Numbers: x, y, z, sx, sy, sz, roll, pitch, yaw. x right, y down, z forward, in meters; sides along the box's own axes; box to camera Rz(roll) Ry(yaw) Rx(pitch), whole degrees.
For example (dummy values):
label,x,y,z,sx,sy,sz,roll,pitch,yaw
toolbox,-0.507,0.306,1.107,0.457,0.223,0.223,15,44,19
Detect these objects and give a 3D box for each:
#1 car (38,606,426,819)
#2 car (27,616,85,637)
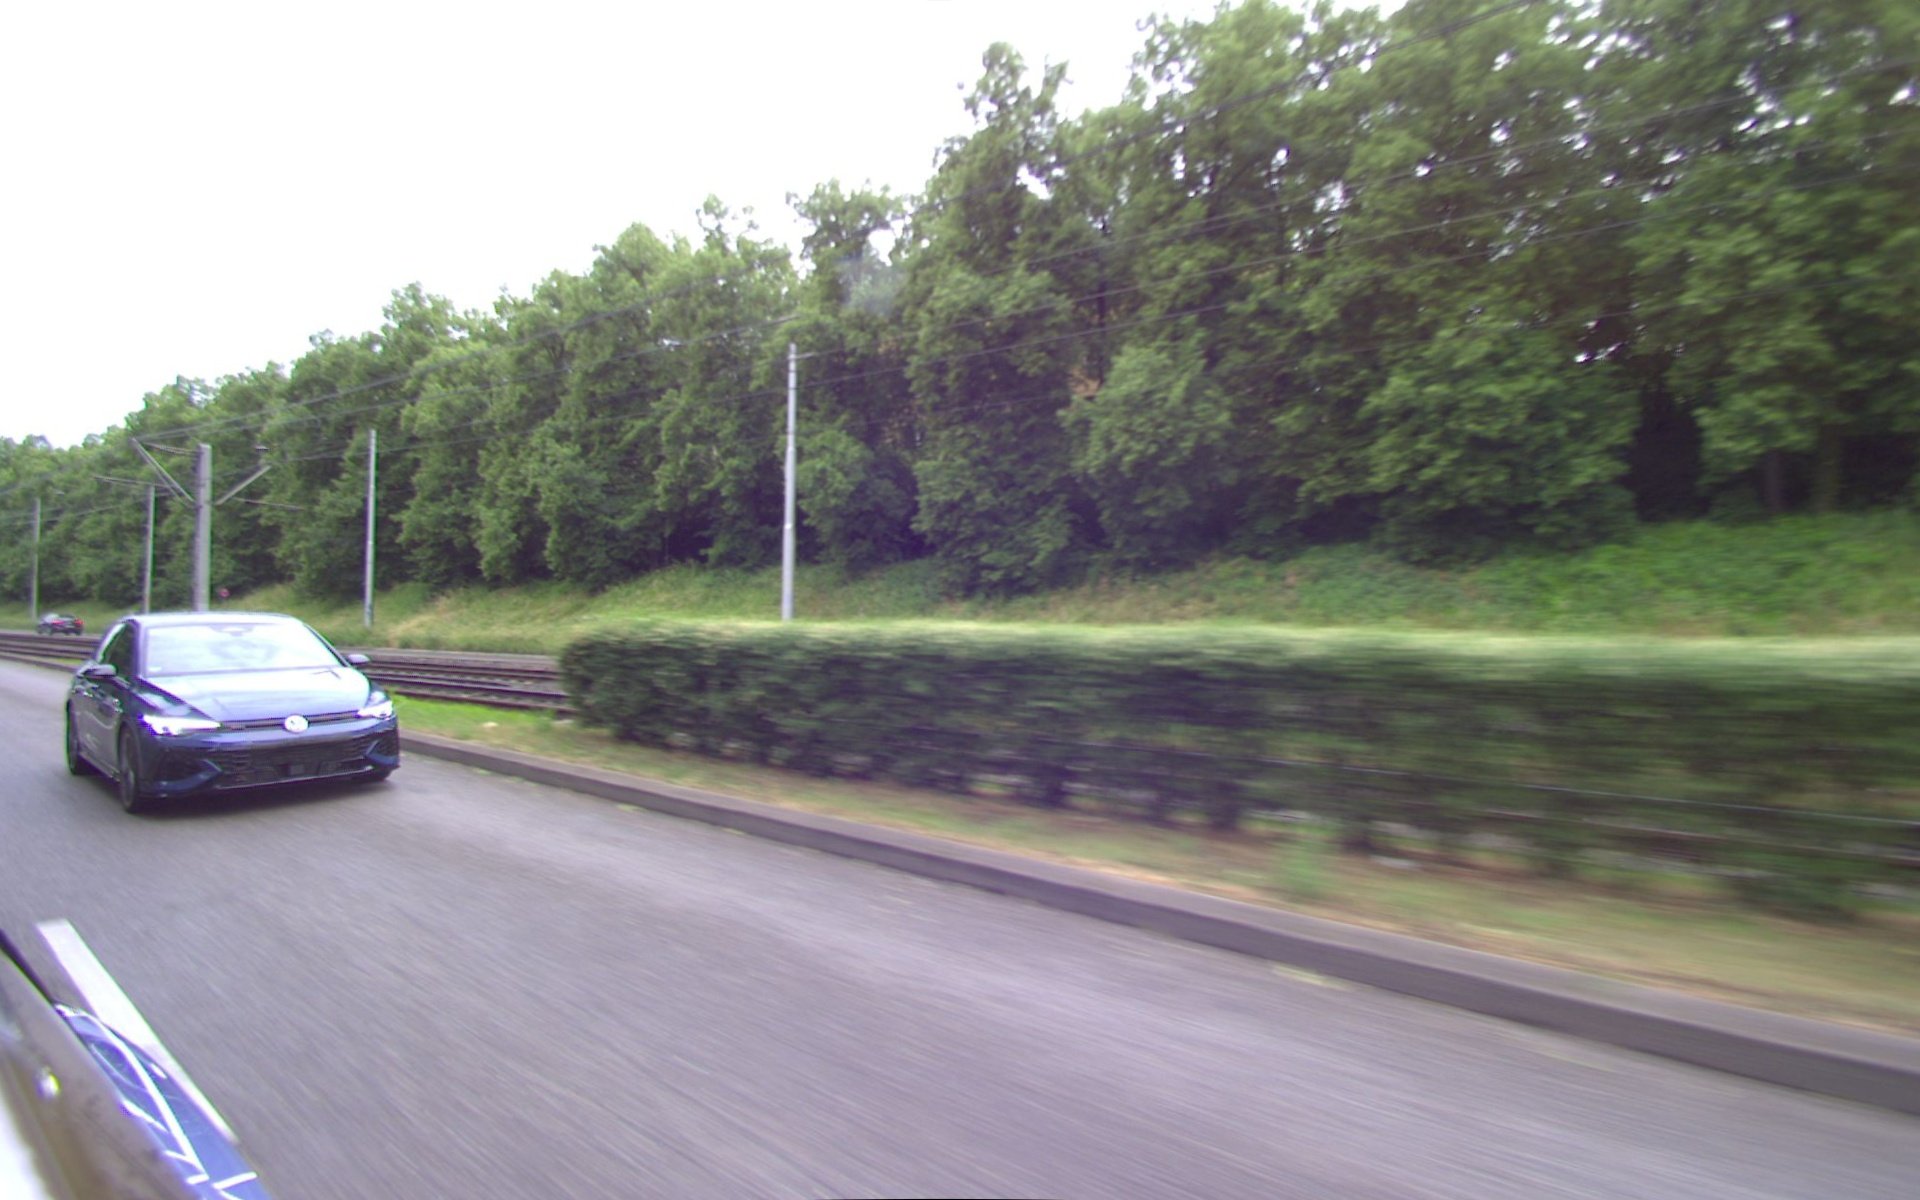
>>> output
label,x,y,z,sx,sy,sz,roll,pitch,yaw
car,-6.449,0.778,8.762,4.344,1.389,1.789,-1,-1,41
car,-63.679,1.864,71.283,4.418,1.442,1.978,-1,-1,33
